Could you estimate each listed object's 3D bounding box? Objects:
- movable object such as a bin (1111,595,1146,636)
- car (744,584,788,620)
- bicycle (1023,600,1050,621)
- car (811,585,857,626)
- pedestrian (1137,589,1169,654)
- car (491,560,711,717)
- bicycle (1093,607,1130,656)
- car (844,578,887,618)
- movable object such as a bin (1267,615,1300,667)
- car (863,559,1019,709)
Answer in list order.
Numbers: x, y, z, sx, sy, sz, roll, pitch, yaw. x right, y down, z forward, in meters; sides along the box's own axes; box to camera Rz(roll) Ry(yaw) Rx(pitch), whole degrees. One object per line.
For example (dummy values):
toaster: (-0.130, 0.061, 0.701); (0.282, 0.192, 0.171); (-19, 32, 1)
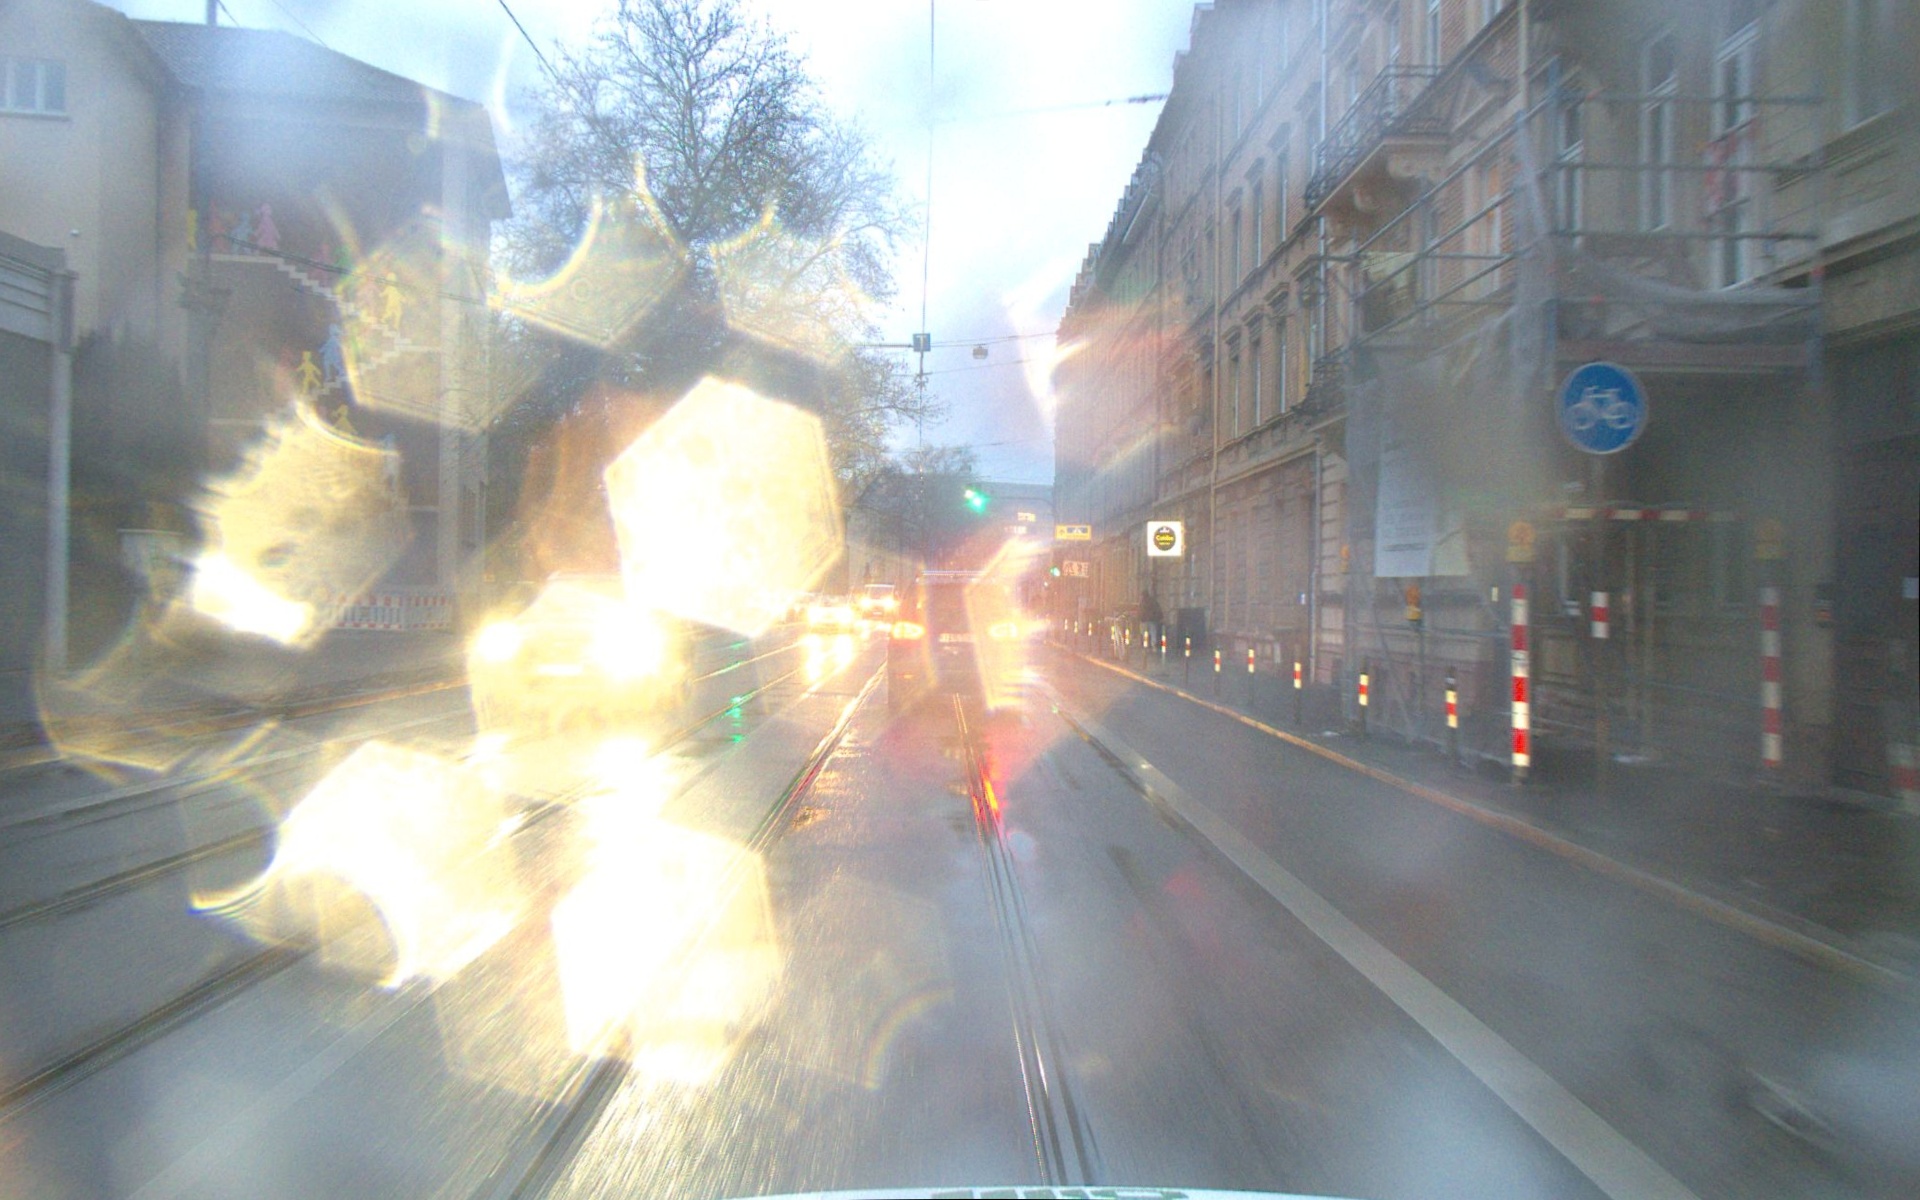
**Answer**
movable object such as a bin: (5.565, 0.502, 54.659); (0.871, 1.311, 1.260); (0, 0, -8)
car: (-9.361, 0.111, 80.093); (1.945, 1.643, 4.424); (1, 0, -5)
bicycle: (4.357, 0.593, 94.177); (0.781, 1.164, 2.230); (1, 0, -19)
car: (-4.799, 0.209, 63.262); (1.499, 1.507, 3.561); (0, 0, -1)
pedestrian: (5.267, 0.592, 45.040); (0.817, 1.731, 0.954); (1, -1, 8)
car: (-4.346, 0.412, 20.766); (1.837, 1.739, 4.759); (0, 0, -2)
bicycle: (3.738, 0.757, 40.884); (0.670, 1.176, 2.188); (1, 0, -1)
car: (-5.844, -0.105, 102.946); (2.396, 2.388, 5.844); (0, 0, 0)
movable object such as a bin: (6.110, 0.772, 31.253); (0.496, 0.947, 0.507); (1, 0, -2)
car: (-0.171, 0.435, 22.987); (1.952, 1.874, 4.001); (1, 0, 2)
